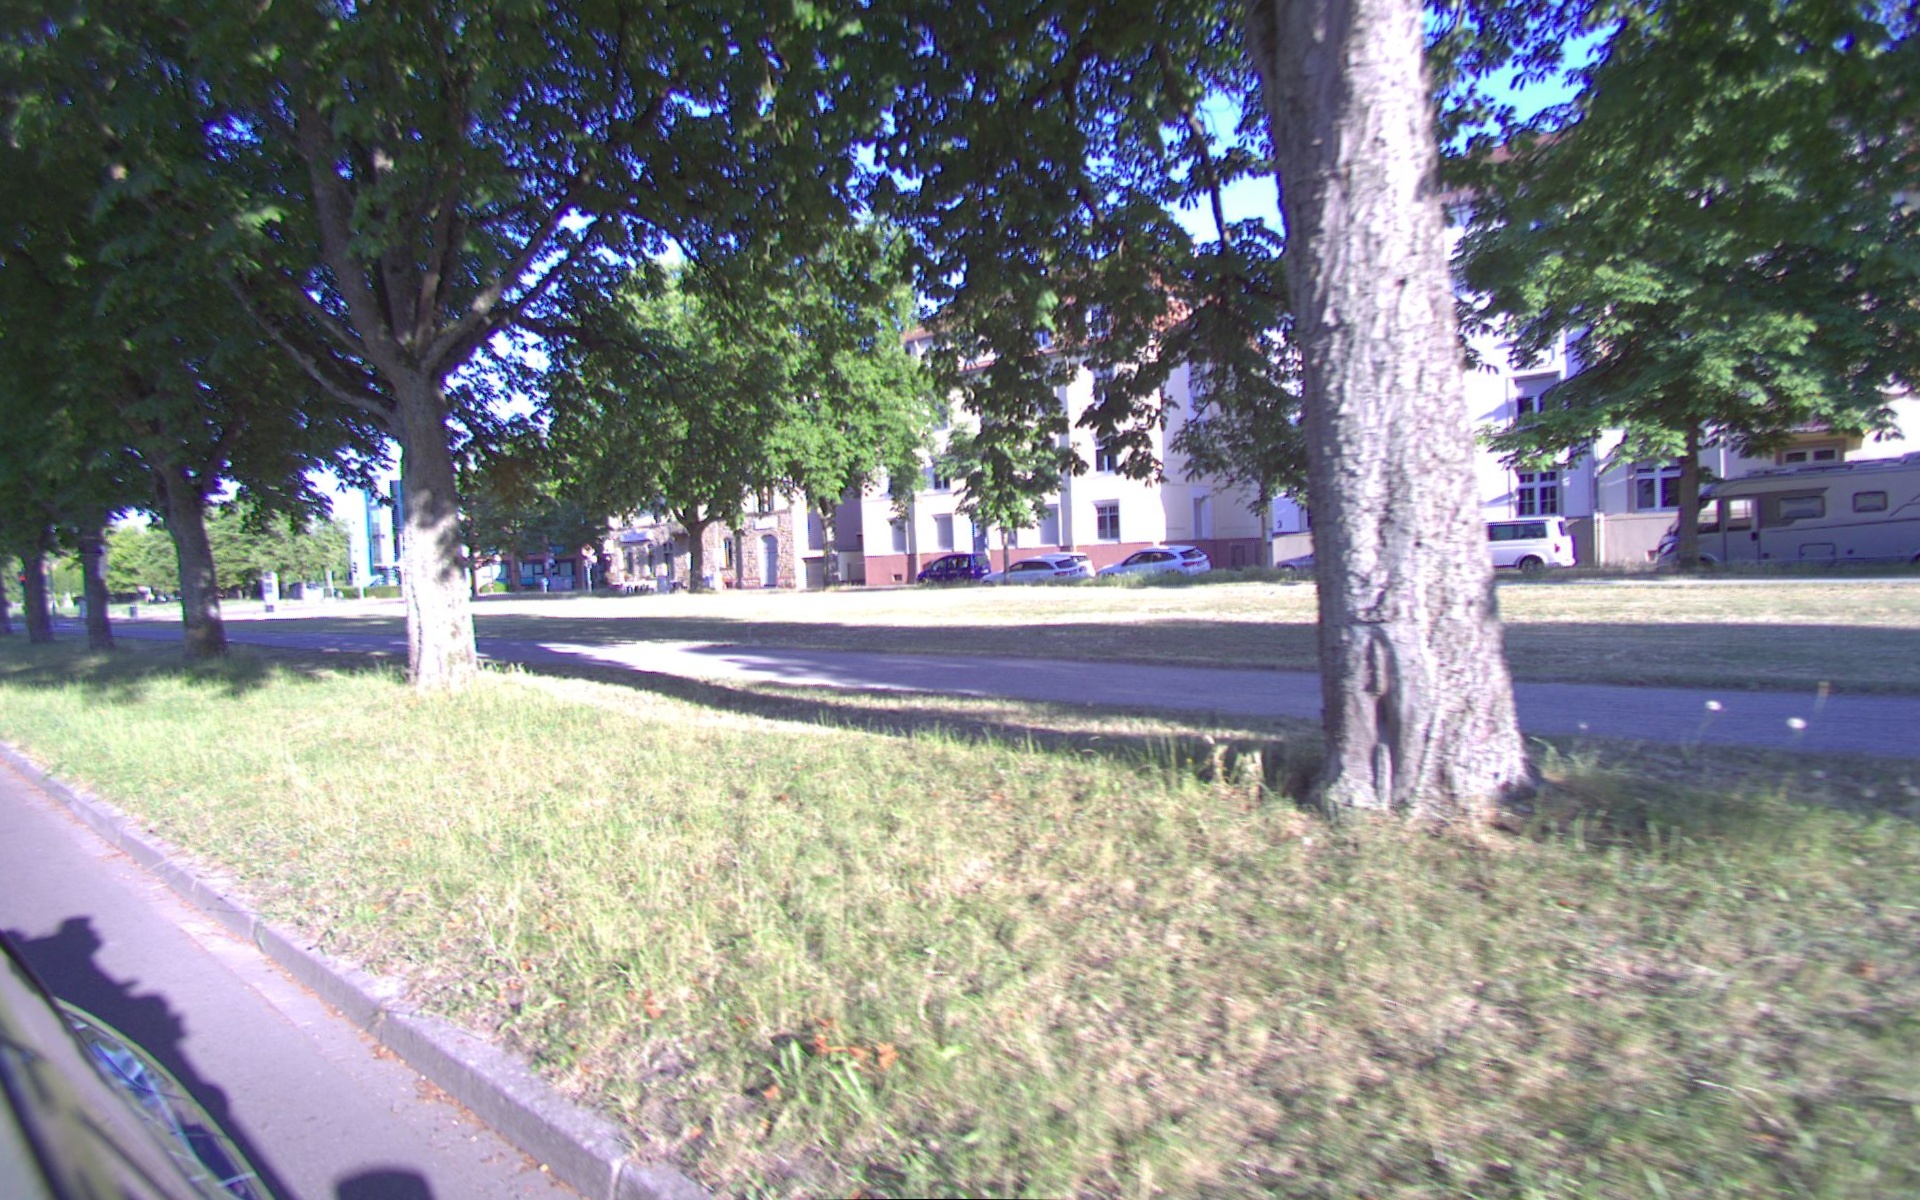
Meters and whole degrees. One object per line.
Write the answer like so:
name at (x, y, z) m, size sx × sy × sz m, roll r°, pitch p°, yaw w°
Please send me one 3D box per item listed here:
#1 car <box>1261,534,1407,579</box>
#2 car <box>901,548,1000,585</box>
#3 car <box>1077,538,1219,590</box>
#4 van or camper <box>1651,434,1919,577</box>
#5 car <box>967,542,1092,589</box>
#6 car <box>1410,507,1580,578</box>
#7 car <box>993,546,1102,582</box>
car at (14.282, -1.648, 38.812) m, size 4.870 × 1.464 × 1.975 m, roll -1°, pitch 4°, yaw 39°
car at (-0.526, -1.723, 52.082) m, size 4.870 × 1.702 × 1.975 m, roll -1°, pitch 4°, yaw 39°
car at (6.970, -1.330, 37.798) m, size 4.874 × 1.702 × 1.973 m, roll 0°, pitch 4°, yaw 42°
van or camper at (21.996, -2.291, 24.909) m, size 7.894 × 3.133 × 3.221 m, roll 0°, pitch 4°, yaw 42°
car at (2.783, -1.398, 41.428) m, size 4.874 × 1.702 × 1.973 m, roll 0°, pitch 4°, yaw 42°
car at (18.622, -1.989, 35.373) m, size 4.876 × 2.218 × 1.972 m, roll 0°, pitch 4°, yaw 43°
car at (4.117, -1.703, 47.979) m, size 4.870 × 1.464 × 1.975 m, roll -1°, pitch 4°, yaw 39°
